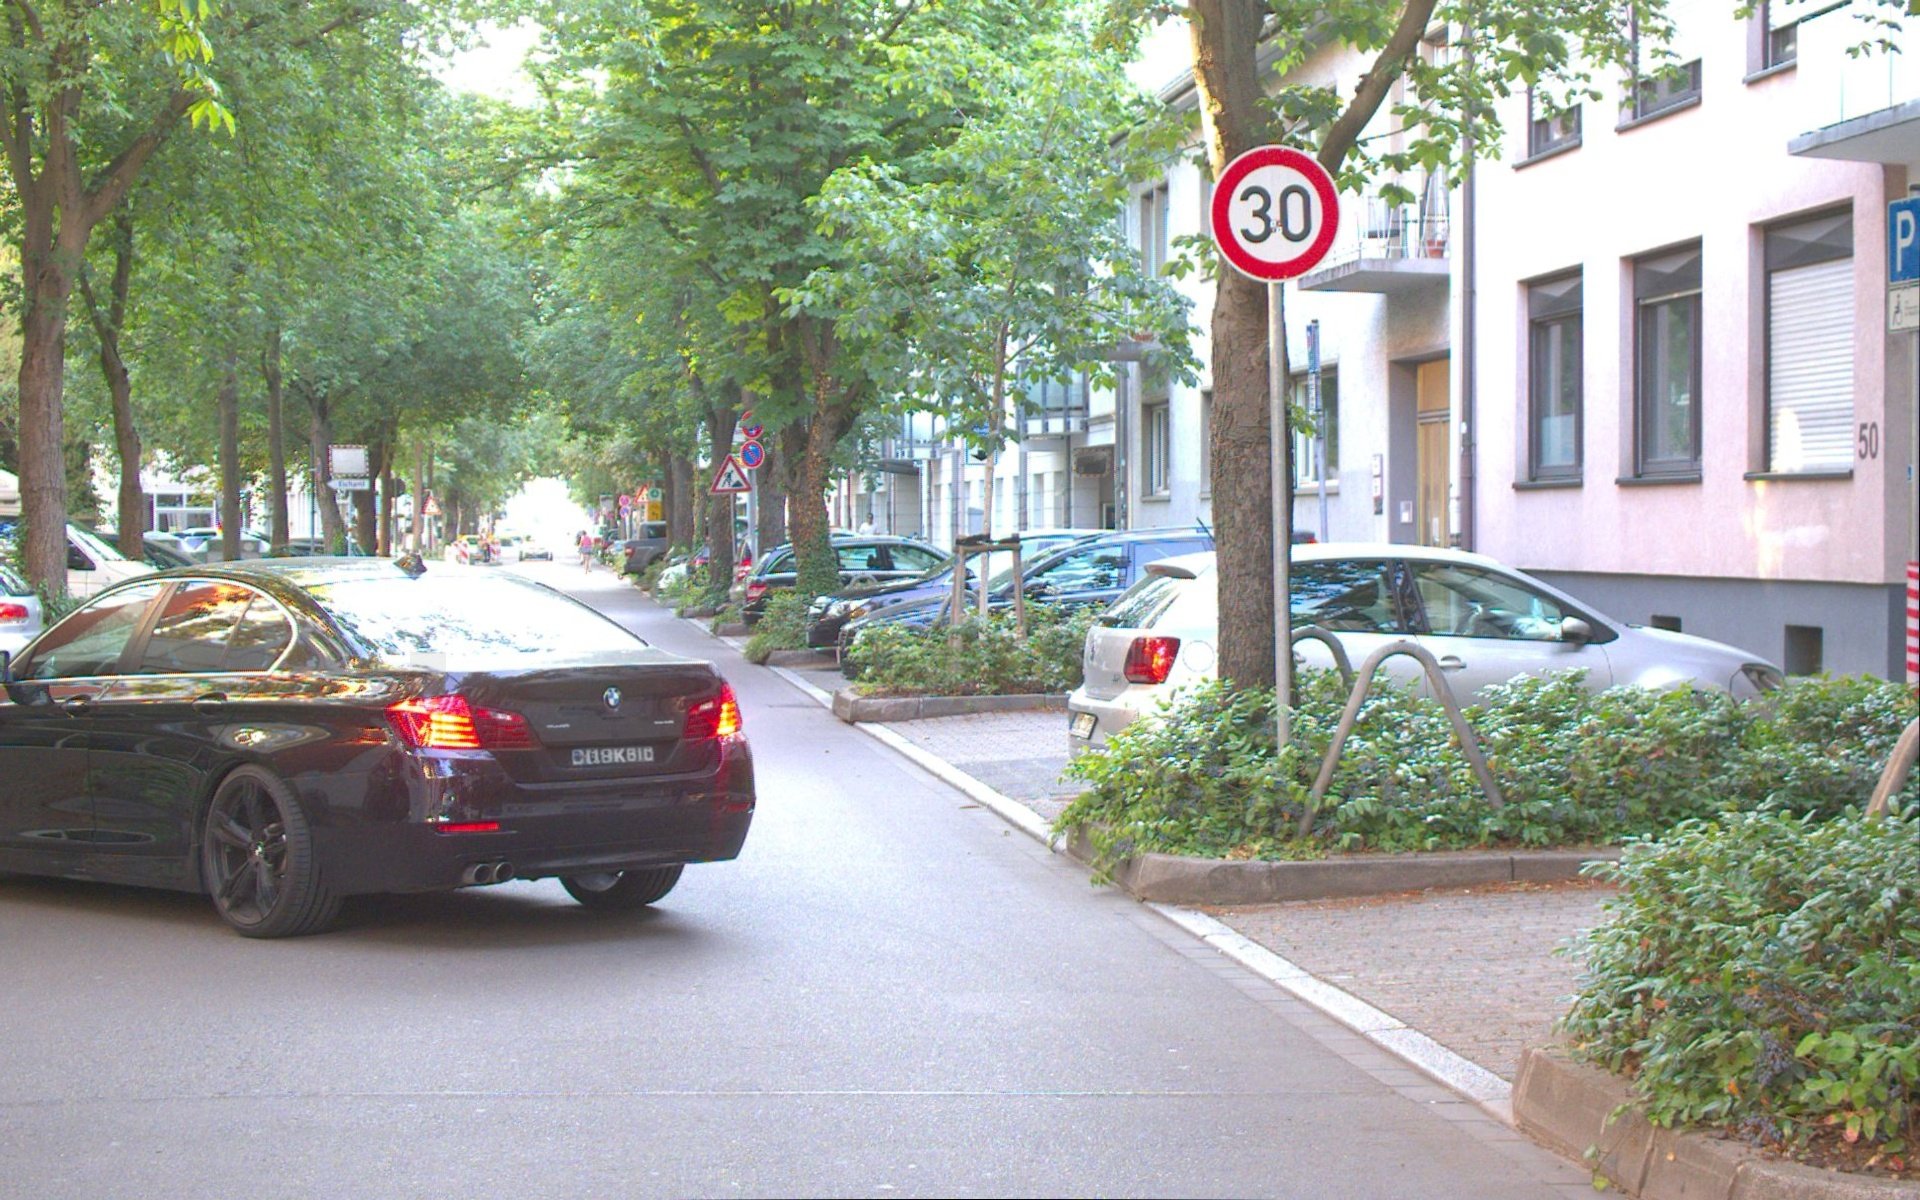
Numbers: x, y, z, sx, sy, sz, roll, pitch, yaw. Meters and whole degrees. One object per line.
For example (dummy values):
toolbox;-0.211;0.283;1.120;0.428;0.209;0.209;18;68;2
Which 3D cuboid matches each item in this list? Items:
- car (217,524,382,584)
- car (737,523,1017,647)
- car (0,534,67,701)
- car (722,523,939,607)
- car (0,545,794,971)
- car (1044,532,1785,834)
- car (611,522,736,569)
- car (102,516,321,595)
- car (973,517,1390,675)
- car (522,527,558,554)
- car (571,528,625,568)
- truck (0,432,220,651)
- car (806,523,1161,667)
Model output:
car;-16.835;-1.174;87.758;4.020;1.466;1.640;1;1;-7
car;-1.163;-0.225;47.531;3.656;1.531;1.566;-2;2;-8
car;-10.350;0.120;31.221;4.131;1.466;1.640;1;1;-7
car;-2.300;-0.629;60.714;3.656;1.388;1.566;-1;1;-8
car;-2.900;0.514;14.233;1.763;1.445;4.665;-1;2;-45
car;2.401;0.404;18.556;3.656;1.474;1.566;-1;1;-8
car;-8.629;-1.648;103.318;3.656;1.388;1.566;0;1;-8
car;-14.570;-0.867;67.062;4.020;1.466;1.640;1;1;-7
car;2.055;-0.059;32.398;3.656;1.388;1.566;-1;1;-8
car;-23.157;-3.275;189.620;1.894;1.470;4.001;0;1;-6
car;-14.067;-2.030;133.457;1.993;1.546;4.001;0;1;-7
truck;-11.159;-0.711;39.443;4.998;2.432;1.916;1;2;-5
car;0.237;-0.075;38.754;3.791;1.524;1.566;-1;1;-8
